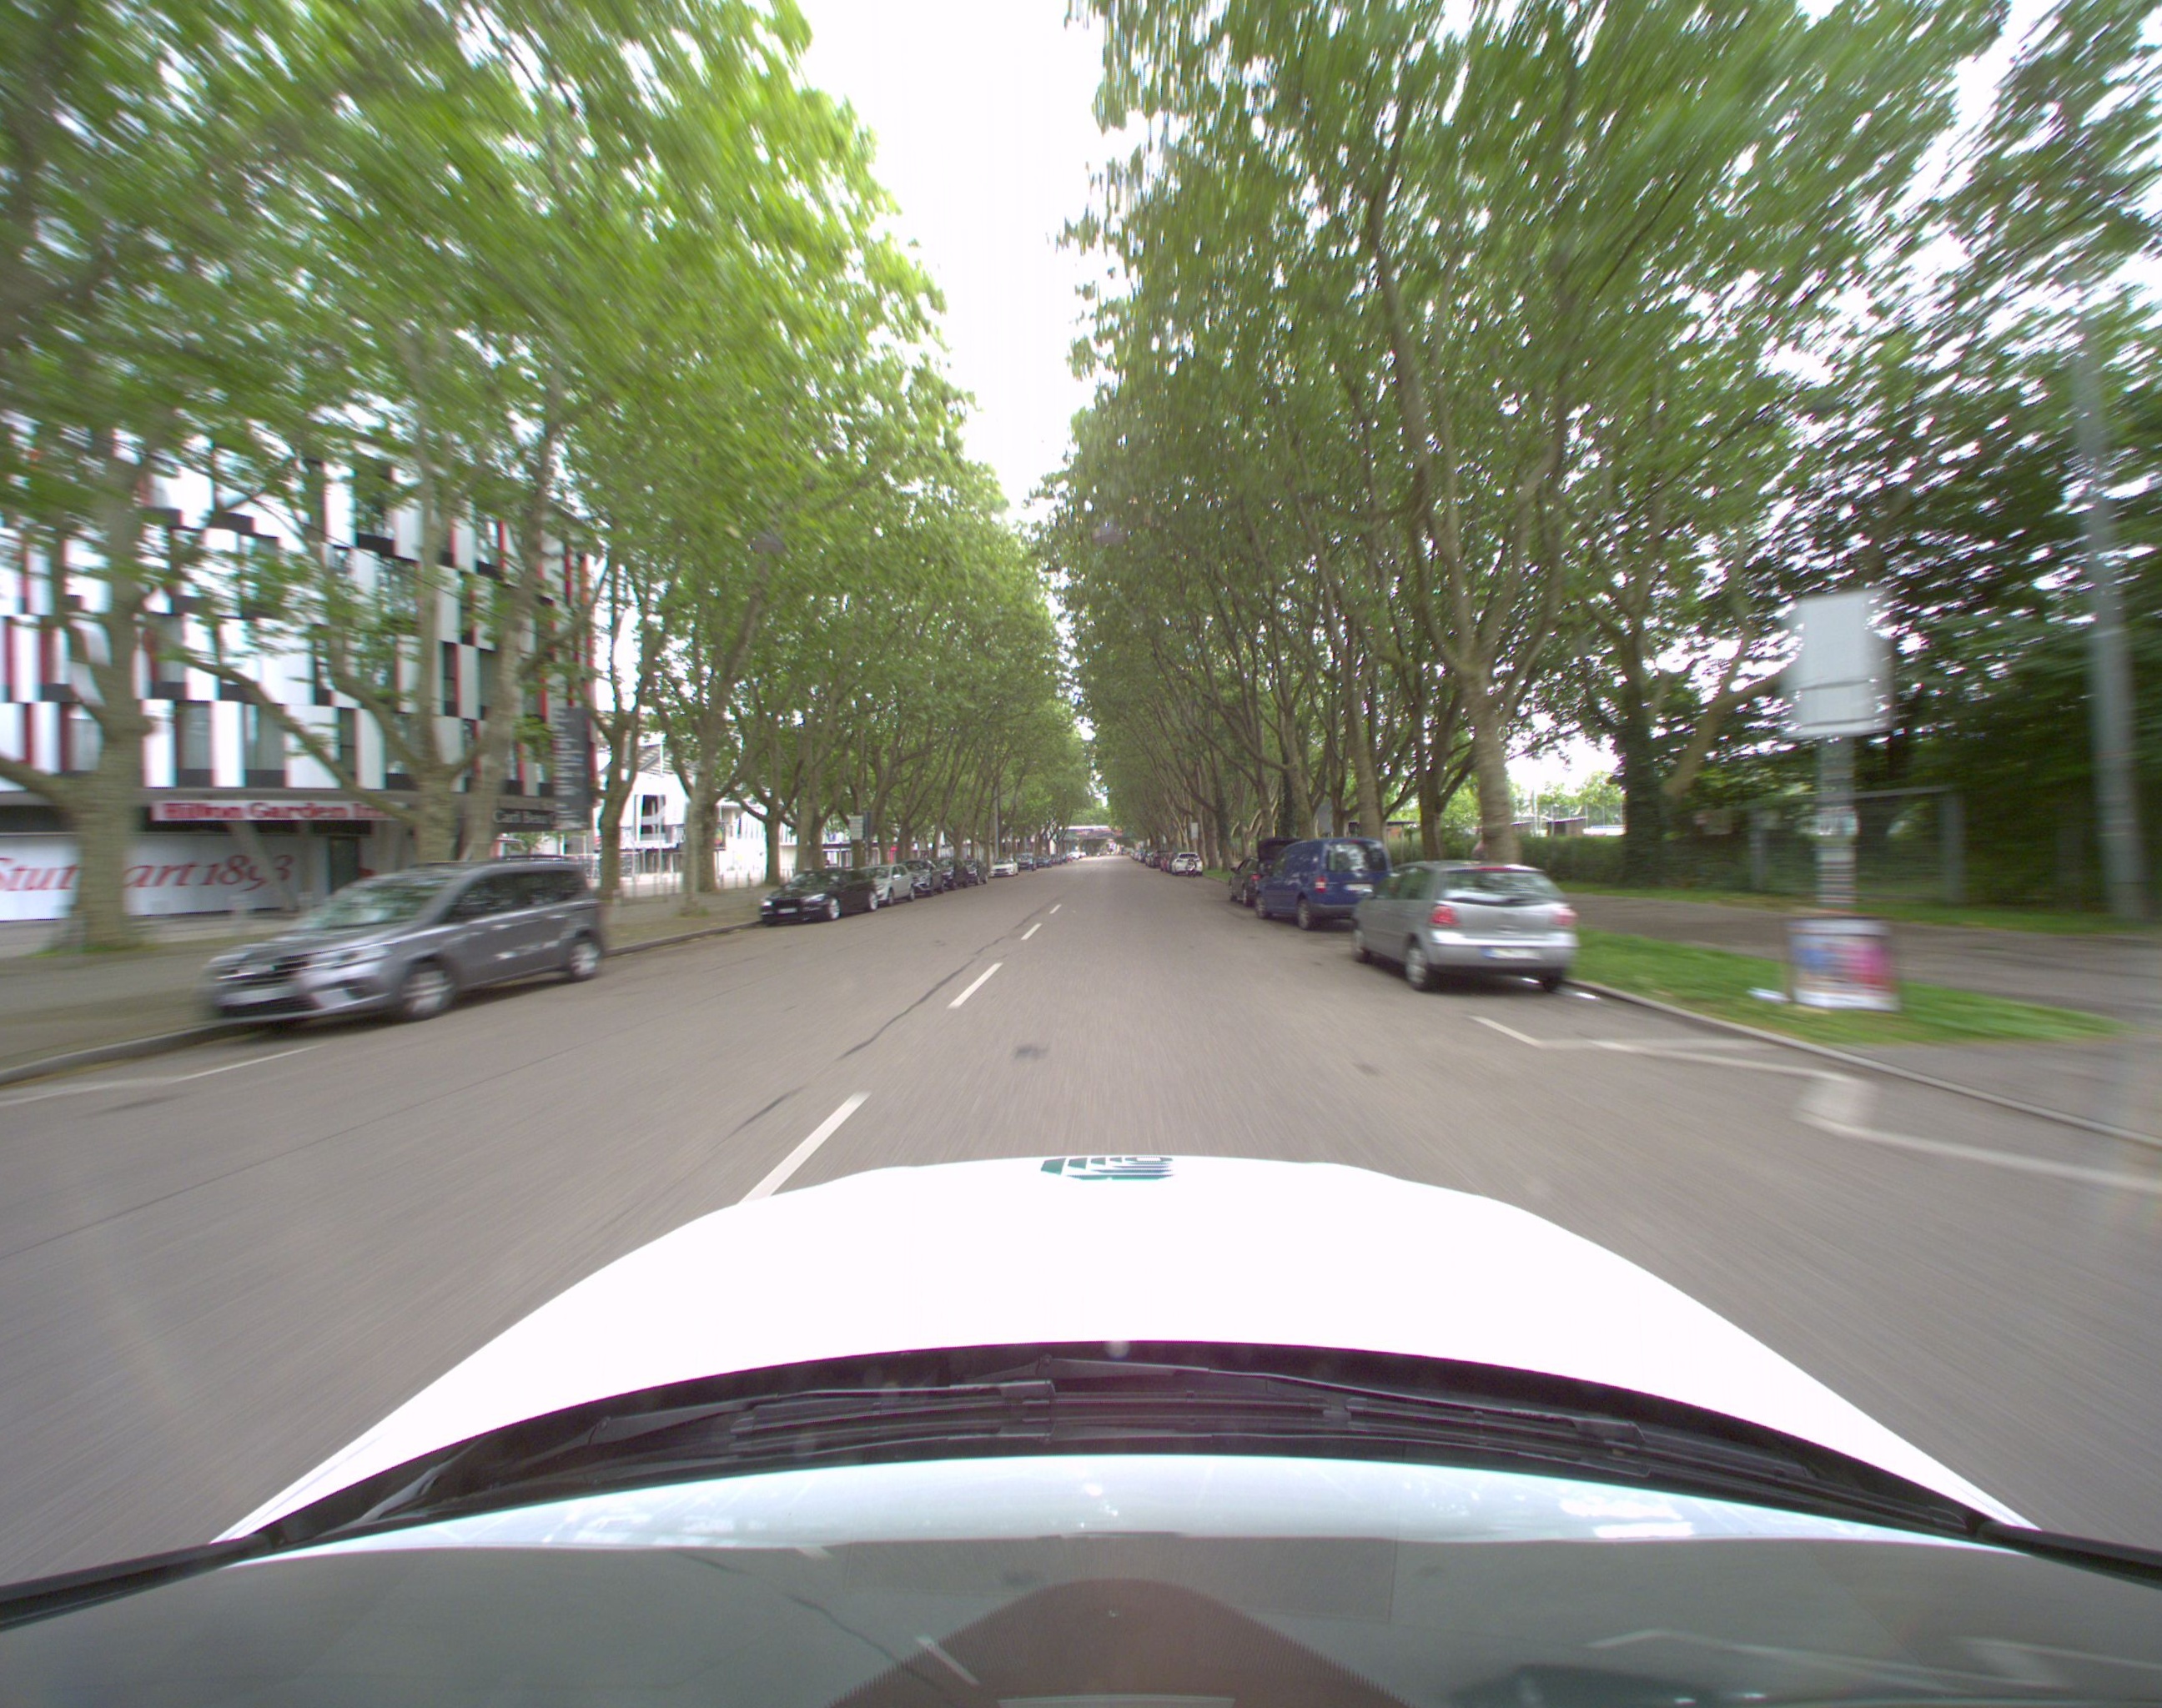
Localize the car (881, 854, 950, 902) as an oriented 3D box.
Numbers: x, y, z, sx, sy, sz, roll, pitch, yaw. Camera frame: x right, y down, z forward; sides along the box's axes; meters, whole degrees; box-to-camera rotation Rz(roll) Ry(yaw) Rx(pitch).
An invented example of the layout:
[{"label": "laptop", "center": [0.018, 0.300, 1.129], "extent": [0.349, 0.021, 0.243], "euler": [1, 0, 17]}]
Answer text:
[{"label": "car", "center": [-6.885, 0.955, 34.327], "extent": [1.864, 1.718, 4.646], "euler": [-5, 0, -1]}]

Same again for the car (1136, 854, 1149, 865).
[{"label": "car", "center": [9.866, 0.841, 130.015], "extent": [1.895, 1.739, 4.509], "euler": [-1, 0, 2]}]

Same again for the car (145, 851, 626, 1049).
[{"label": "car", "center": [-8.103, 0.945, 10.278], "extent": [1.888, 1.795, 4.614], "euler": [-5, 0, 2]}]

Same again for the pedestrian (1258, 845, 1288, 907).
[{"label": "pedestrian", "center": [5.172, 0.594, 21.991], "extent": [0.631, 1.627, 0.743], "euler": [-2, 0, 2]}]

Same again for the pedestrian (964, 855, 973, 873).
[{"label": "pedestrian", "center": [-11.502, 1.014, 83.348], "extent": [0.570, 1.742, 0.771], "euler": [-2, 0, 17]}]

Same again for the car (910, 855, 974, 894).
[{"label": "car", "center": [-6.777, 0.968, 40.256], "extent": [1.929, 1.643, 4.933], "euler": [-5, 0, 4]}]

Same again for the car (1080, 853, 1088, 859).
[{"label": "car", "center": [0.829, 0.514, 219.812], "extent": [1.989, 1.601, 3.996], "euler": [-1, 0, -3]}]

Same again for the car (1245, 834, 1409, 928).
[{"label": "car", "center": [5.130, 0.497, 17.684], "extent": [1.840, 1.783, 4.438], "euler": [0, 0, -6]}]

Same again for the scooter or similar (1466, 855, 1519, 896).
[{"label": "scooter or similar", "center": [11.272, 0.565, 22.362], "extent": [0.677, 1.038, 1.468], "euler": [-4, 0, 2]}]

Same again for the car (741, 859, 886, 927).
[{"label": "car", "center": [-7.424, 1.020, 23.297], "extent": [2.075, 1.530, 5.151], "euler": [-3, 0, 4]}]

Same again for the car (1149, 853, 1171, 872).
[{"label": "car", "center": [7.100, 0.756, 73.801], "extent": [1.748, 1.620, 4.442], "euler": [0, 0, 3]}]

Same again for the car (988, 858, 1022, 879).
[{"label": "car", "center": [-5.886, 1.090, 63.491], "extent": [1.896, 1.403, 4.754], "euler": [-5, 0, 2]}]

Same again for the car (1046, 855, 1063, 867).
[{"label": "car", "center": [-3.642, 0.932, 112.696], "extent": [1.870, 1.527, 4.154], "euler": [-3, 0, 3]}]

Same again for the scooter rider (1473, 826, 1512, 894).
[{"label": "scooter rider", "center": [11.245, 0.154, 22.256], "extent": [0.674, 1.800, 0.588], "euler": [-4, 0, 2]}]

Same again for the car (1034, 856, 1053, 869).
[{"label": "car", "center": [-4.380, 0.976, 94.890], "extent": [1.718, 1.486, 4.577], "euler": [-2, 0, 3]}]

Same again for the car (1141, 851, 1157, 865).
[{"label": "car", "center": [8.620, 0.462, 103.087], "extent": [1.701, 1.698, 4.631], "euler": [0, 0, 1]}]

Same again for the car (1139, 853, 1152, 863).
[{"label": "car", "center": [9.182, 0.585, 116.173], "extent": [1.700, 1.427, 3.891], "euler": [0, 0, 3]}]

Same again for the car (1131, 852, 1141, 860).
[{"label": "car", "center": [10.285, 0.366, 153.003], "extent": [1.796, 1.555, 4.002], "euler": [-2, 0, 2]}]

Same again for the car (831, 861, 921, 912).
[{"label": "car", "center": [-7.054, 1.061, 28.496], "extent": [1.826, 1.456, 4.233], "euler": [-5, 0, 2]}]

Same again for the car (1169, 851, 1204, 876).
[{"label": "car", "center": [6.666, 0.570, 51.849], "extent": [1.729, 1.438, 4.123], "euler": [-2, 0, 1]}]

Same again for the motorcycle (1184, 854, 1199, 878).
[{"label": "motorcycle", "center": [6.333, 0.648, 46.724], "extent": [0.707, 1.331, 1.998], "euler": [-1, 0, 11]}]

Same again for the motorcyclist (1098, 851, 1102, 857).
[{"label": "motorcyclist", "center": [4.930, -0.006, 209.405], "extent": [0.868, 1.480, 1.264], "euler": [-2, 0, -1]}]

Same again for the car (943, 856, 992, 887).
[{"label": "car", "center": [-6.327, 0.953, 45.803], "extent": [1.826, 1.494, 4.446], "euler": [-5, 0, 3]}]

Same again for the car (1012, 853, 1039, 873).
[{"label": "car", "center": [-5.197, 0.833, 76.995], "extent": [1.941, 1.750, 4.640], "euler": [-3, 0, 2]}]

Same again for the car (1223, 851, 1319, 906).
[{"label": "car", "center": [5.511, 0.650, 24.156], "extent": [1.986, 1.478, 4.374], "euler": [0, 0, 2]}]

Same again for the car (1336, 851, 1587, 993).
[{"label": "car", "center": [4.603, 0.703, 10.506], "extent": [1.612, 1.461, 3.950], "euler": [1, 0, 4]}]

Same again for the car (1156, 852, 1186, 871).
[{"label": "car", "center": [6.865, 0.556, 62.438], "extent": [1.711, 1.438, 4.626], "euler": [0, 0, -2]}]

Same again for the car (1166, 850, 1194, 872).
[{"label": "car", "center": [6.951, 0.510, 57.547], "extent": [1.723, 1.470, 4.084], "euler": [1, 0, 3]}]

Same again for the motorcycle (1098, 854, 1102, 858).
[{"label": "motorcycle", "center": [4.949, 0.563, 209.419], "extent": [0.870, 1.079, 3.051], "euler": [-2, 0, -1]}]

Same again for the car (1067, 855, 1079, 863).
[{"label": "car", "center": [-1.663, 0.941, 166.728], "extent": [2.065, 1.563, 4.759], "euler": [-2, 0, 3]}]
